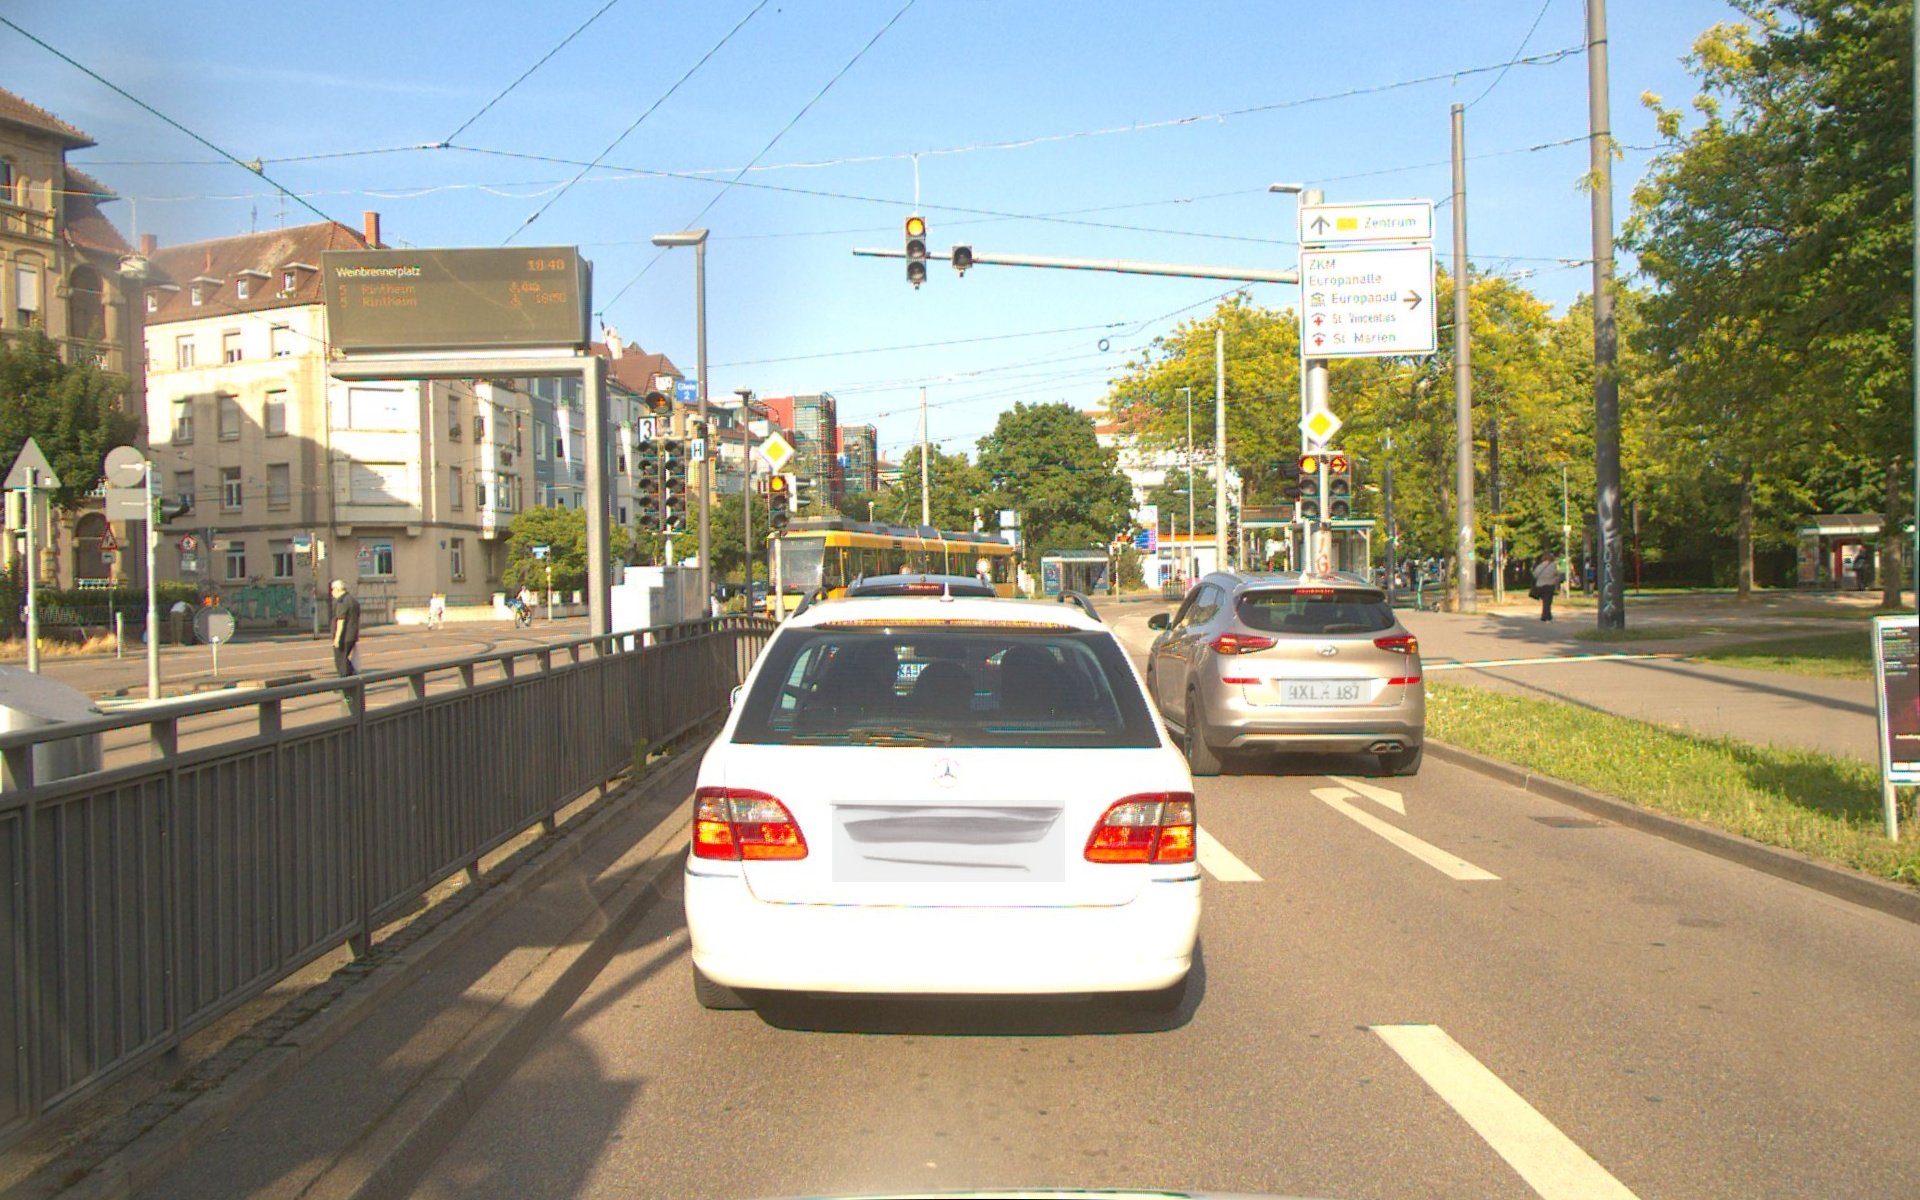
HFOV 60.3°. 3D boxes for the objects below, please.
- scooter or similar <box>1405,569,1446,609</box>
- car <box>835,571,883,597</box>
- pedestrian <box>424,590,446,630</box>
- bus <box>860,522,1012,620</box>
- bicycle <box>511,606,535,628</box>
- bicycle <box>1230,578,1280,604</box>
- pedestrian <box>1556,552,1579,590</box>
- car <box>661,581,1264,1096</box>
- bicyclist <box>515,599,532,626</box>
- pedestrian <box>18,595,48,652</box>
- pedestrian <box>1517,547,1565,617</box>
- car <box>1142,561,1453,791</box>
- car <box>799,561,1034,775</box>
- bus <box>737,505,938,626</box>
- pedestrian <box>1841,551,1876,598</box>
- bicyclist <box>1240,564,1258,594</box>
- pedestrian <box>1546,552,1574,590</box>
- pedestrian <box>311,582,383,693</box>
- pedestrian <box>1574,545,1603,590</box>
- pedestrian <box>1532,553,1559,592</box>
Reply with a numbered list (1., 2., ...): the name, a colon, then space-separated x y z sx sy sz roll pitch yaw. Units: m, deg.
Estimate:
1. scooter or similar: 13.537 -0.316 48.111 0.413 1.136 1.322 -2 0 -21
2. car: -8.306 -1.334 136.579 3.907 2.049 1.999 1 0 -2
3. pedestrian: -20.964 0.399 65.993 0.616 1.568 0.711 -2 0 -2
4. bus: -0.717 -1.061 68.395 3.042 3.669 12.600 1 0 14
5. bicycle: -17.434 0.668 66.046 0.515 0.849 1.686 -2 1 -1
6. bicycle: 14.963 -0.470 83.849 2.430 1.234 0.807 -2 0 7
7. pedestrian: 24.095 -1.151 65.586 0.796 1.513 0.700 -1 0 23
8. car: -0.026 0.676 6.650 1.759 1.496 3.647 0 0 -1
9. bicyclist: -17.436 0.484 66.072 0.502 1.062 0.679 -2 0 -1
10. pedestrian: -25.414 0.636 45.331 0.428 1.527 0.549 -1 0 13
11. pedestrian: 13.929 -0.431 39.655 0.748 1.665 0.797 -2 0 -41
12. car: 2.752 0.555 14.320 1.847 1.680 3.647 -2 1 -1
13. car: -0.381 0.525 14.977 1.846 1.680 3.647 1 0 -1
14. bus: -3.815 -1.035 56.282 3.042 3.669 12.384 1 0 14
15. pedestrian: 32.068 -0.903 59.033 0.818 1.665 0.803 -1 0 5
16. bicyclist: 14.666 -1.056 83.870 0.842 1.507 0.790 -1 0 7
17. pedestrian: 24.345 -1.174 67.104 0.799 1.513 0.698 -2 0 -12
18. pedestrian: -9.548 0.573 25.762 0.744 1.674 0.788 -1 0 45
19. pedestrian: 25.365 -1.306 66.771 0.784 1.816 0.838 -1 0 -5
20. pedestrian: 23.541 -1.105 66.478 0.809 1.513 0.690 -2 0 -43
